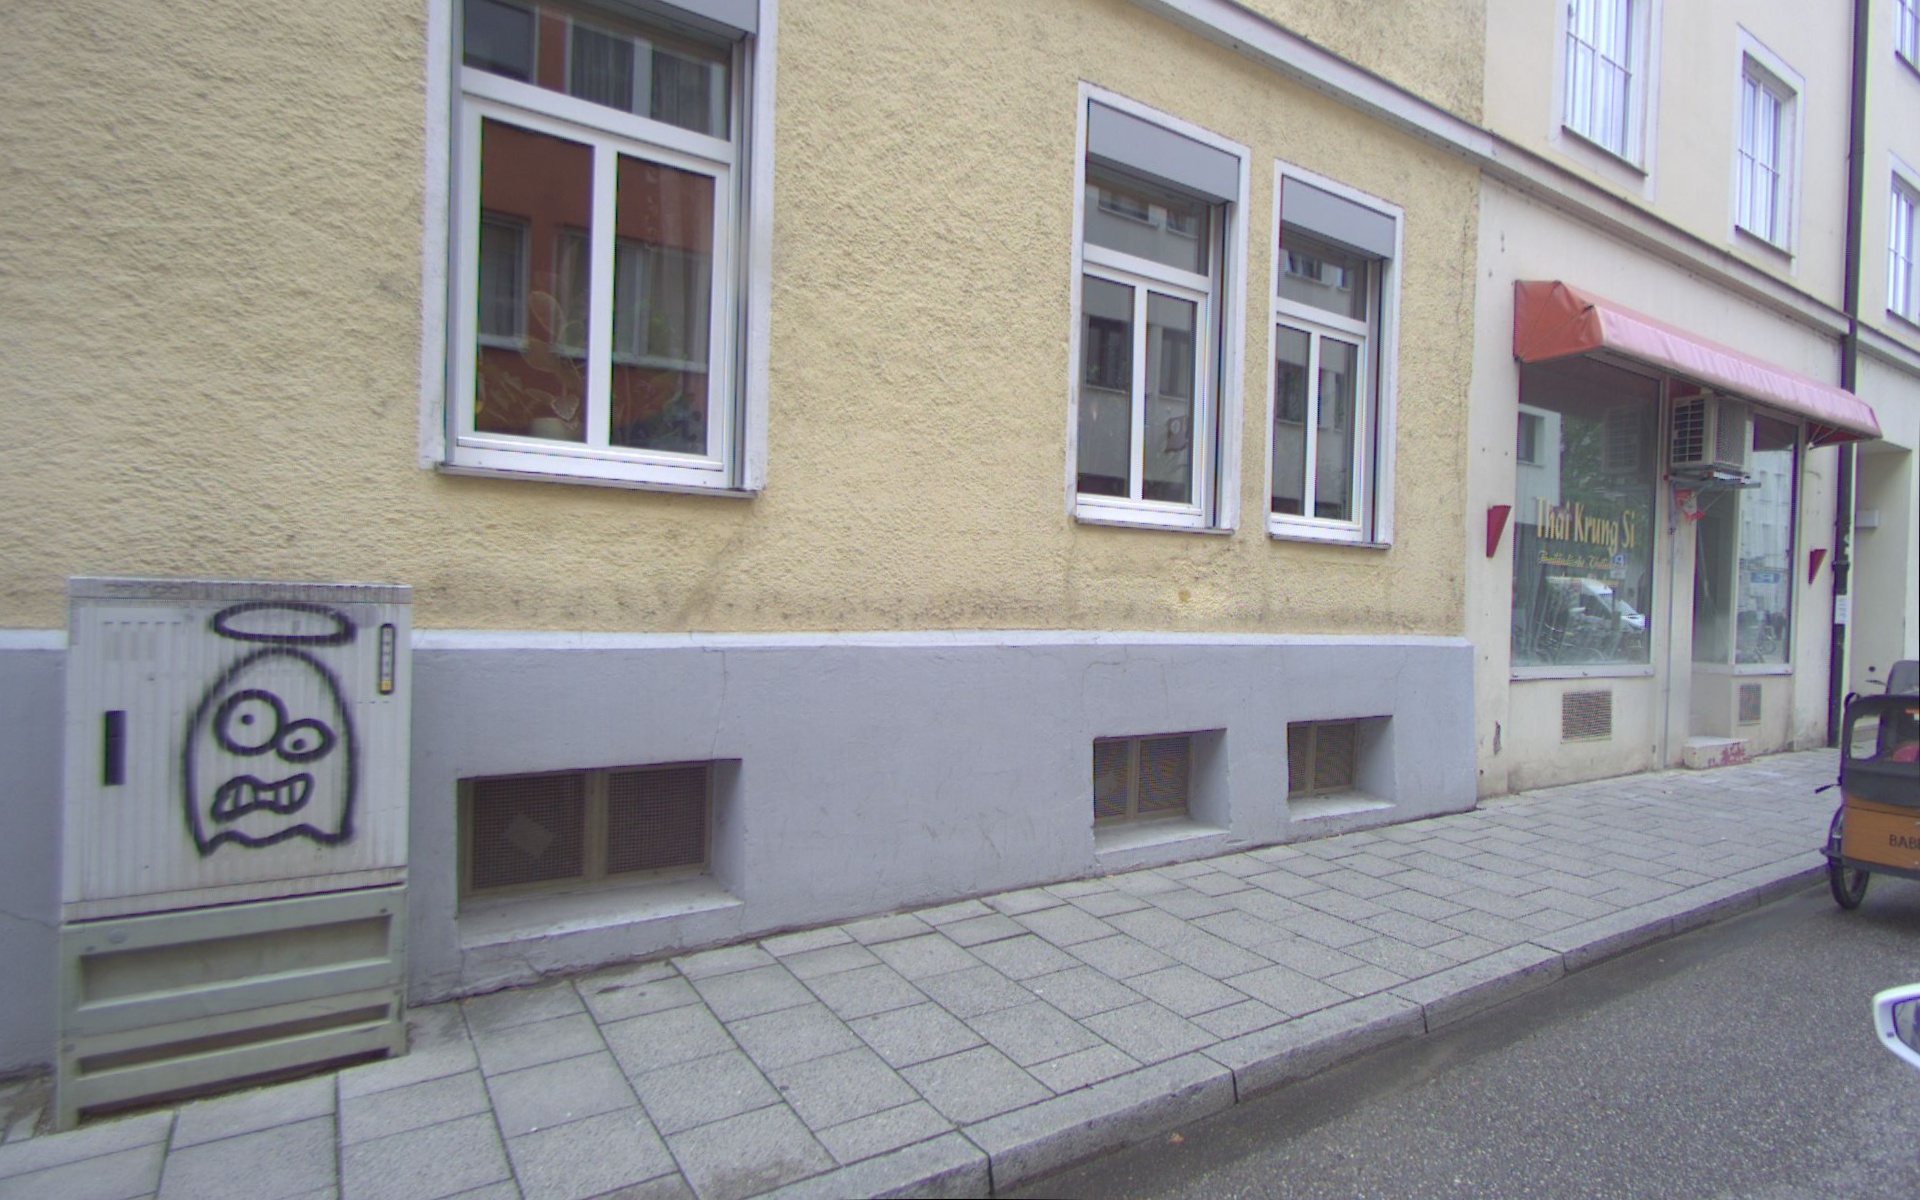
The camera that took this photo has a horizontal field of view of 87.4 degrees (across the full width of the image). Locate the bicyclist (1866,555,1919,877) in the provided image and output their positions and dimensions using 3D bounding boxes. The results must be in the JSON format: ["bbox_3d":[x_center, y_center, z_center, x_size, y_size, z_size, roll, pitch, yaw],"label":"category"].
[{"bbox_3d":[5.780,0.634,5.530,1.087,1.744,0.921,1,0,-32],"label":"bicyclist"}]

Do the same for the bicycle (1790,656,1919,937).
[{"bbox_3d":[5.440,0.952,5.313,2.387,1.274,0.927,2,-1,-32],"label":"bicycle"}]
